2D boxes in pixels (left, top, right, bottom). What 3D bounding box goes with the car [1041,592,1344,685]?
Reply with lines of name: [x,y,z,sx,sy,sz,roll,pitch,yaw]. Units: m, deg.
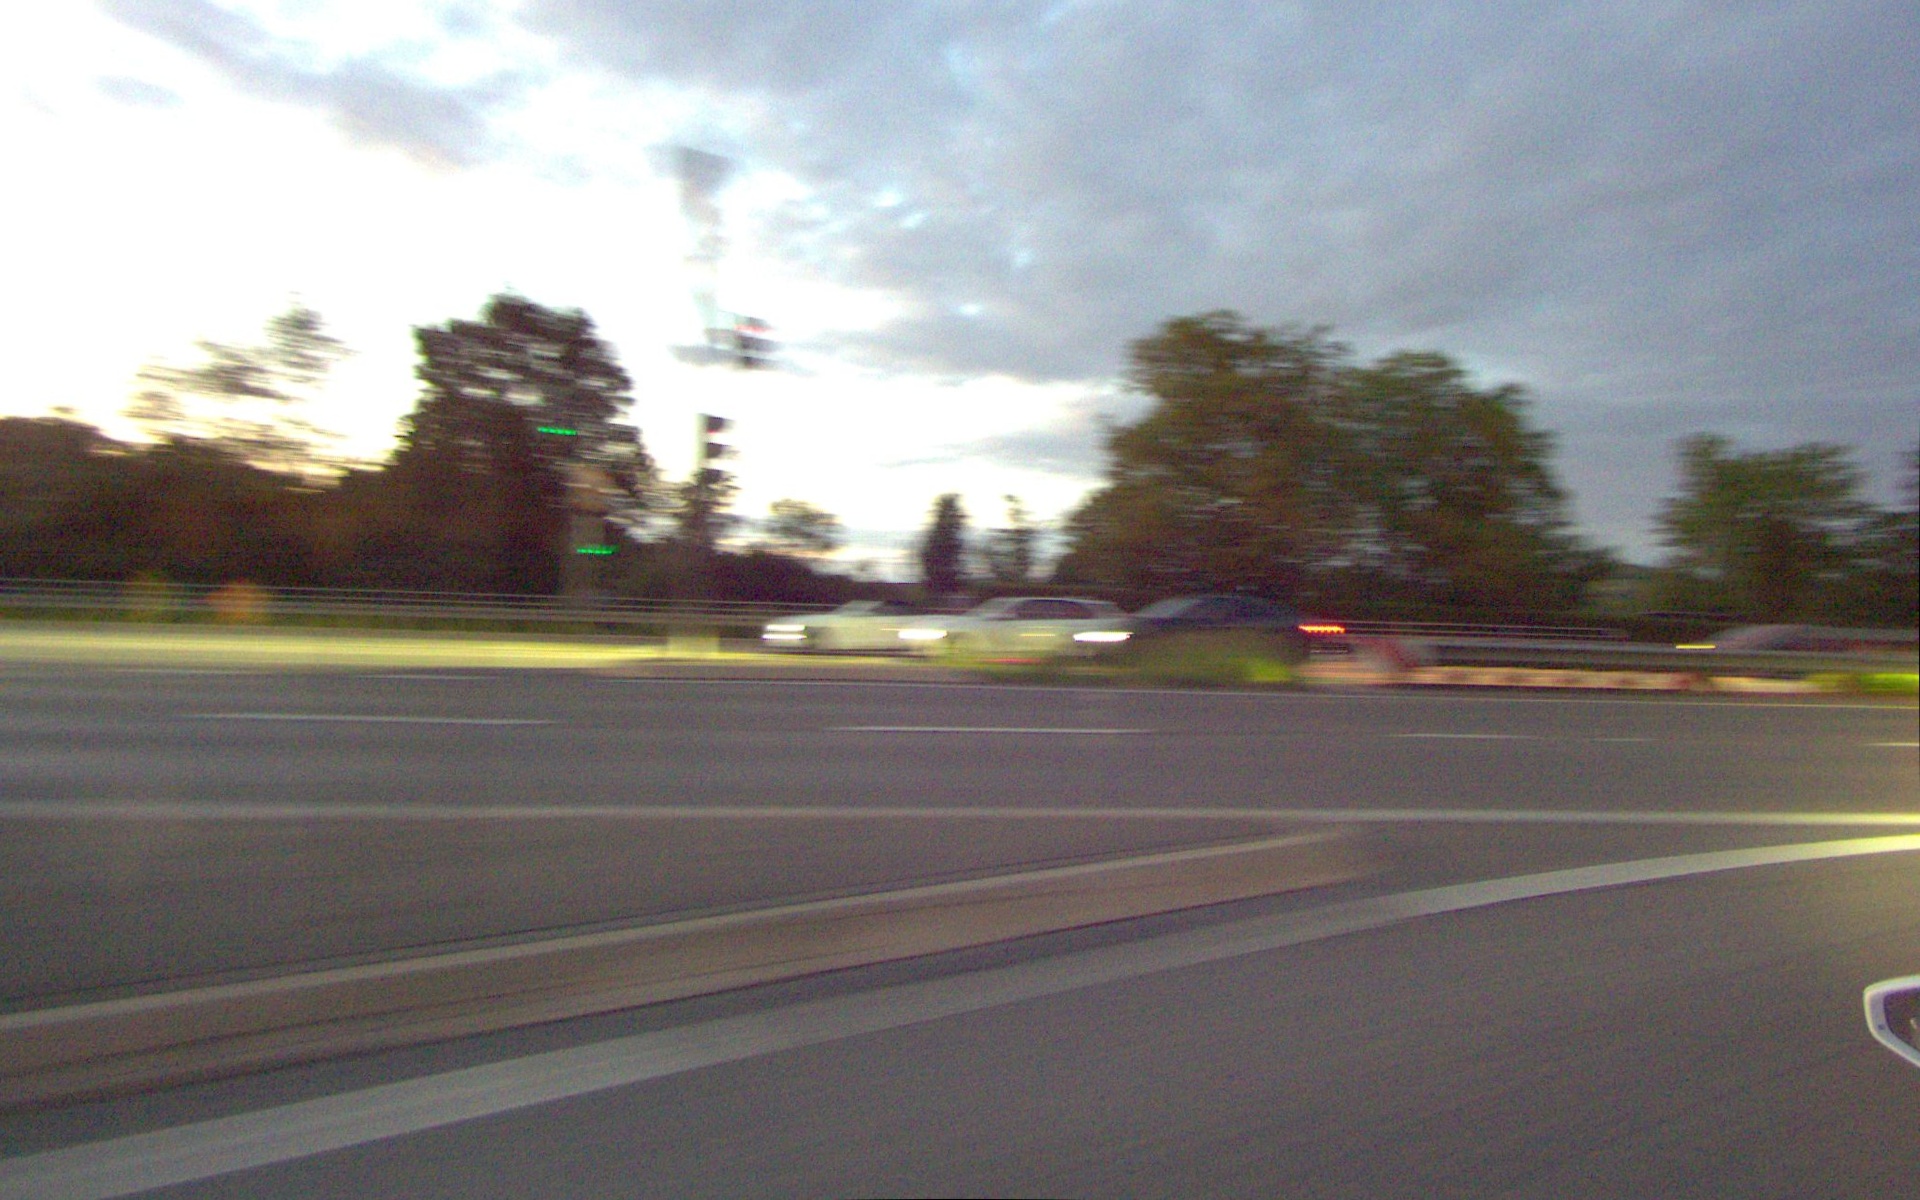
car: [4.096,0.697,18.174,4.953,1.472,1.998,2,-1,-7]

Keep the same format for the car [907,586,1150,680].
car: [1.385,0.706,21.327,4.785,1.704,1.997,3,-1,-9]

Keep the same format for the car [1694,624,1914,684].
car: [23.082,1.462,27.551,4.646,1.472,1.998,2,-1,-7]

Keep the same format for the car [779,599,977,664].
car: [-2.030,0.767,24.616,4.647,1.472,1.997,1,-1,-8]
